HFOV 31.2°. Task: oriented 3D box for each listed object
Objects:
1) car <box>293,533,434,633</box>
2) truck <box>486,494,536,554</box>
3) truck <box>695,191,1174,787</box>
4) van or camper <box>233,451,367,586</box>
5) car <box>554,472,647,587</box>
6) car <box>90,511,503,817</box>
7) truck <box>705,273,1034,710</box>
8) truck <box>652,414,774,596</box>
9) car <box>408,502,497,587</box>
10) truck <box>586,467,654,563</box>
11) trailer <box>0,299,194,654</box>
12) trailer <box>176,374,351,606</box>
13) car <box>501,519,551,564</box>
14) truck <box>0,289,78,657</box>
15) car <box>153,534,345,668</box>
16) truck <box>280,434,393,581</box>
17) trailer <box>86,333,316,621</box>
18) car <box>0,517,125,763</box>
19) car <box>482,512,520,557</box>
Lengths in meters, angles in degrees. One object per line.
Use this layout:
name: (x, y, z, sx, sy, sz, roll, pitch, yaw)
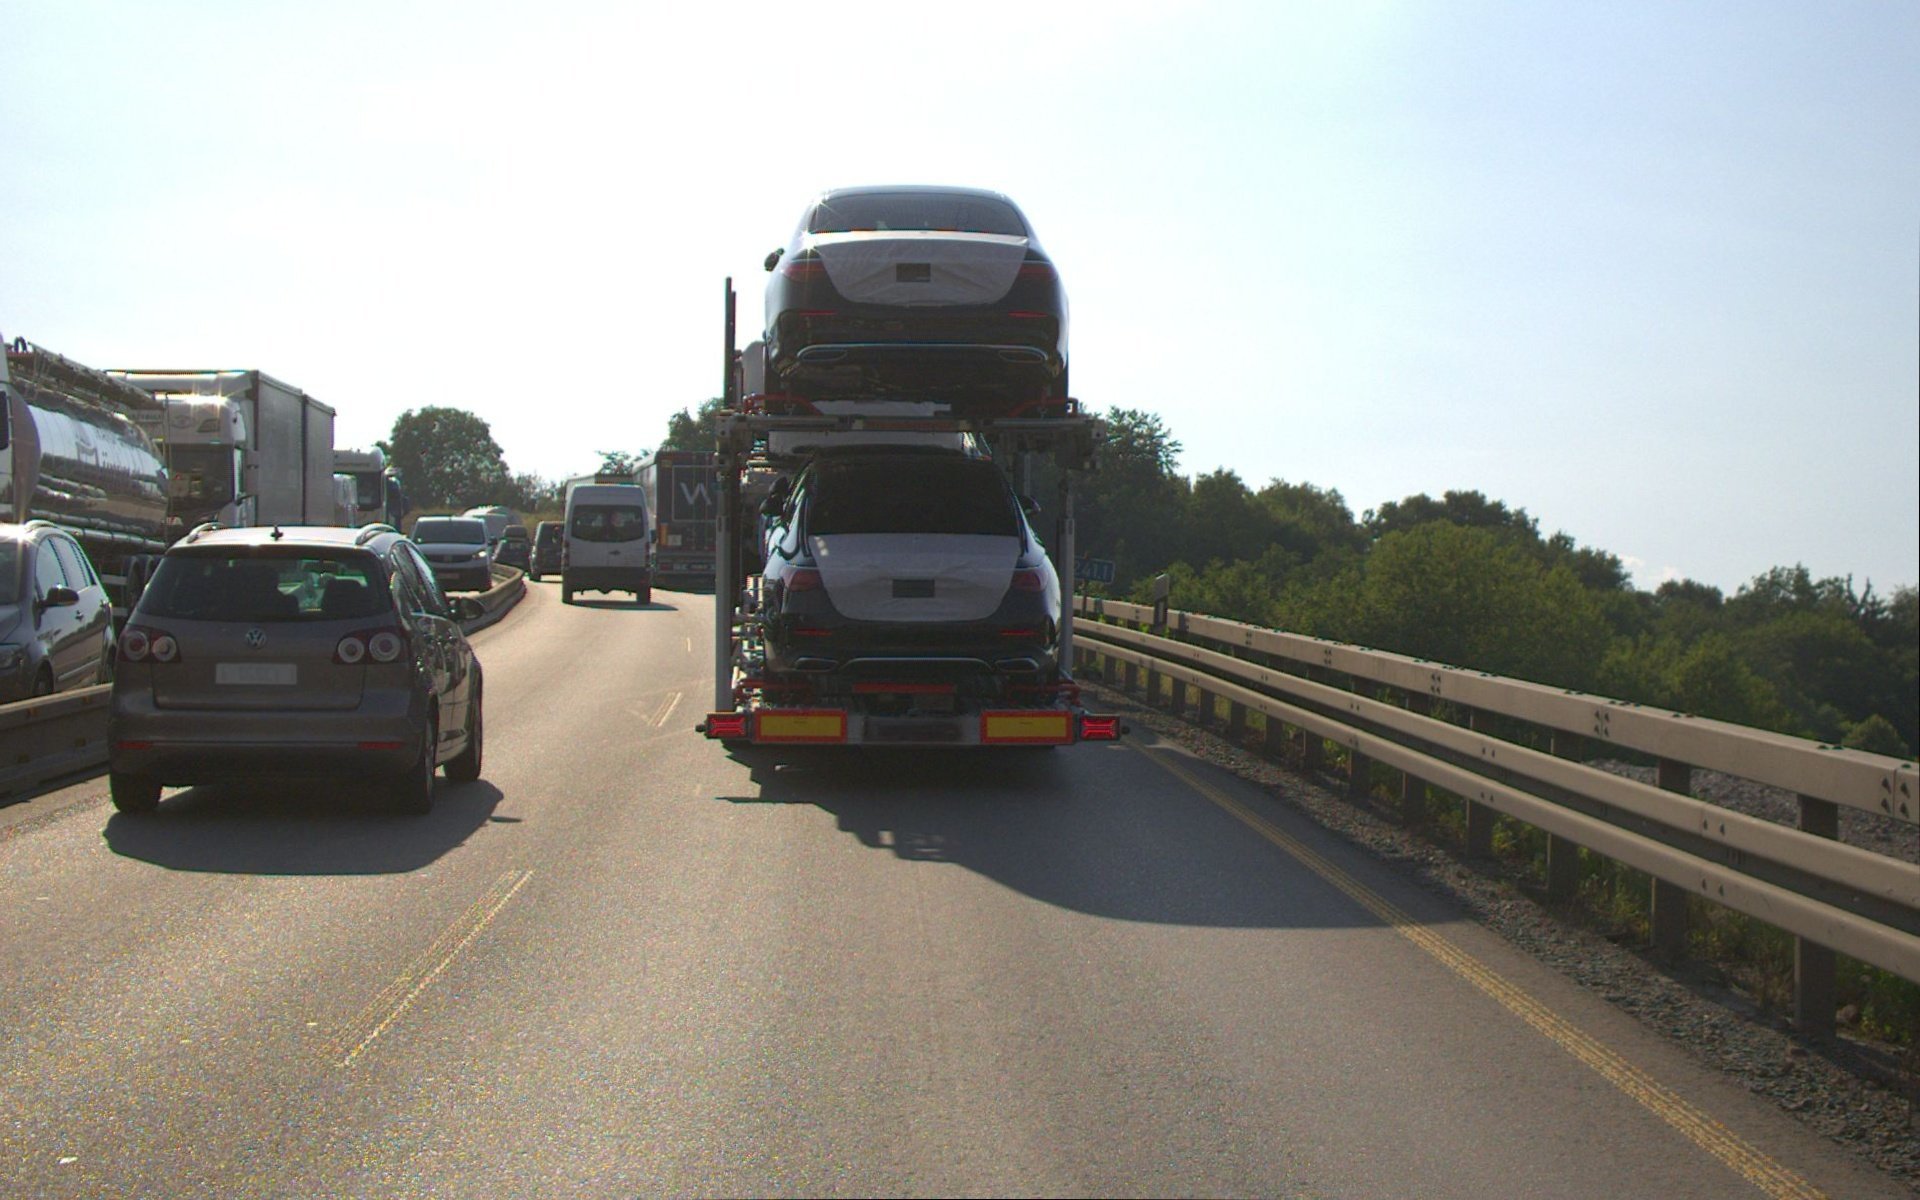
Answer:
car: (-8.893, -0.271, 51.539, 1.627, 1.421, 4.658, 1, 1, -4)
truck: (-24.340, -4.085, 186.486, 2.590, 3.159, 6.678, 1, 1, -7)
truck: (-0.511, -0.719, 25.585, 2.798, 3.485, 10.607, 1, 1, -4)
van or camper: (-14.900, -1.809, 78.015, 2.407, 2.881, 7.620, 1, 1, -7)
car: (-8.101, -1.576, 77.803, 1.920, 2.484, 5.409, 1, 1, -4)
car: (-3.744, 0.311, 20.015, 1.691, 1.590, 4.000, 1, 1, -1)
truck: (-1.132, -1.006, 34.999, 2.837, 3.779, 9.988, 1, 1, -4)
truck: (-7.586, -2.807, 104.474, 3.285, 5.219, 9.938, 1, 1, -6)
car: (-11.786, -1.287, 80.048, 1.816, 1.919, 4.837, 1, 1, -6)
truck: (-13.296, -3.297, 135.053, 2.530, 3.635, 8.907, 1, 1, -5)
trailer: (-11.579, -1.408, 42.573, 2.306, 3.777, 12.054, 1, 1, -4)
trailer: (-13.378, -2.057, 66.583, 2.442, 4.174, 8.546, 1, 1, -6)
car: (-17.642, -2.381, 139.985, 1.826, 1.766, 4.001, 1, 1, -5)
truck: (-11.198, -1.331, 36.850, 2.432, 3.772, 5.618, 1, 1, -5)
car: (-7.955, -0.018, 38.766, 1.627, 1.421, 4.389, 1, 1, -5)
truck: (-16.577, -2.430, 91.747, 2.600, 3.741, 6.518, 1, 1, -7)
trailer: (-12.428, -1.929, 57.105, 2.475, 4.314, 10.513, 1, 1, -6)
car: (-7.070, 0.222, 24.042, 1.750, 1.581, 3.943, 1, 1, -4)
car: (-20.765, -2.962, 155.475, 1.629, 2.007, 4.001, 0, 1, -8)
